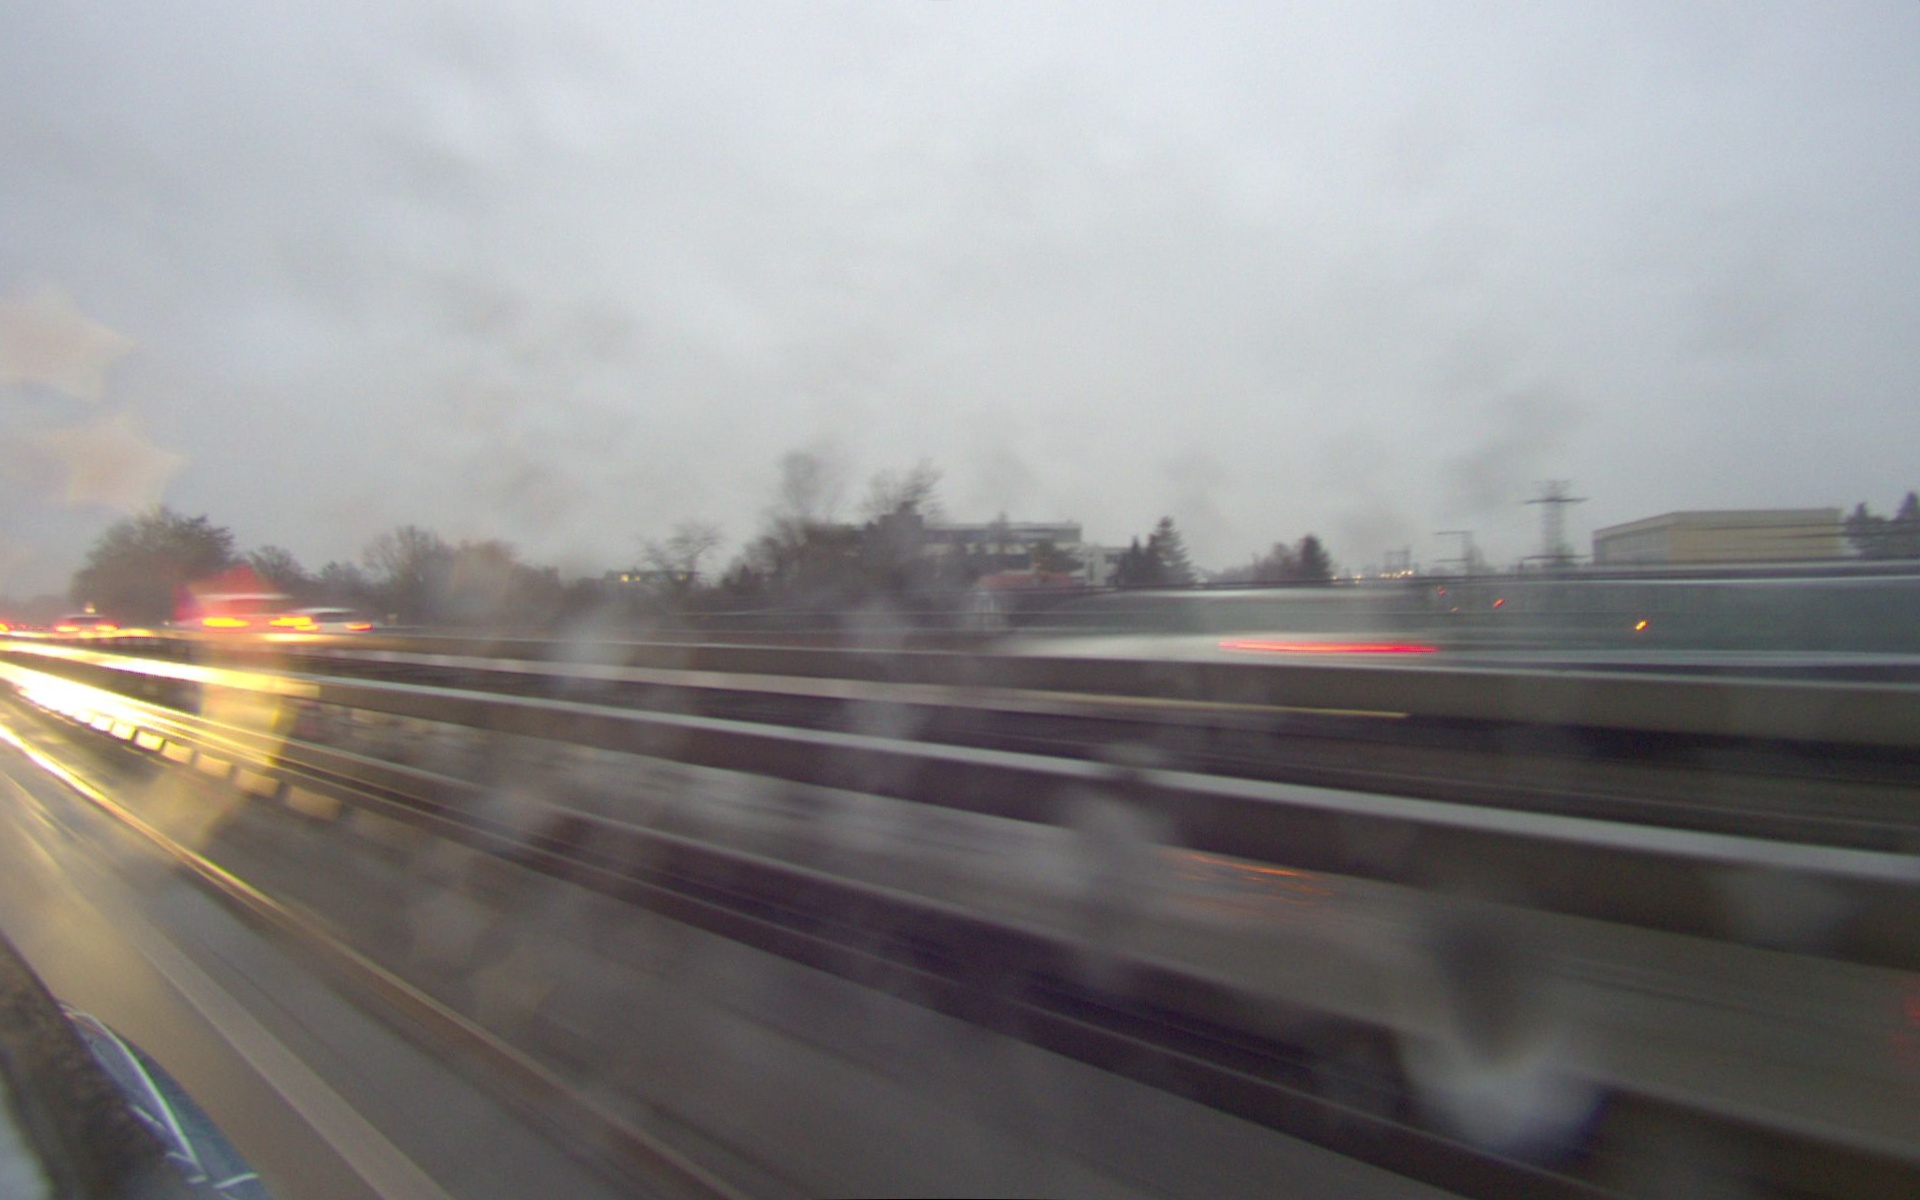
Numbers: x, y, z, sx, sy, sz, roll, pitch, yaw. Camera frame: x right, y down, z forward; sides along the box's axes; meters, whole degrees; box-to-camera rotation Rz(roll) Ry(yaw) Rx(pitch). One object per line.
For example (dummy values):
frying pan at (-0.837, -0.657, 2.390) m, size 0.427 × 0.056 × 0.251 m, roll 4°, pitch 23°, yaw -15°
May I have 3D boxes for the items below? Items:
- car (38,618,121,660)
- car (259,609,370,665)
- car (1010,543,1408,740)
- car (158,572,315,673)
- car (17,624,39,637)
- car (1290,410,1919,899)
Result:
car at (-34.758, 1.522, 39.907) m, size 4.372 × 1.513 × 1.944 m, roll -2°, pitch 0°, yaw 42°
car at (-19.874, 1.129, 31.124) m, size 3.920 × 1.578 × 1.836 m, roll -2°, pitch -2°, yaw 41°
car at (2.668, 0.420, 11.396) m, size 3.998 × 1.829 × 1.724 m, roll -1°, pitch -1°, yaw 41°
car at (-17.245, 0.520, 24.042) m, size 4.459 × 2.164 × 2.060 m, roll -2°, pitch -1°, yaw 41°
car at (-130.534, 4.284, 141.731) m, size 4.705 × 1.797 × 1.874 m, roll -2°, pitch -1°, yaw 44°
car at (4.282, 0.232, 5.386) m, size 4.372 × 2.068 × 1.944 m, roll -2°, pitch -1°, yaw 42°
